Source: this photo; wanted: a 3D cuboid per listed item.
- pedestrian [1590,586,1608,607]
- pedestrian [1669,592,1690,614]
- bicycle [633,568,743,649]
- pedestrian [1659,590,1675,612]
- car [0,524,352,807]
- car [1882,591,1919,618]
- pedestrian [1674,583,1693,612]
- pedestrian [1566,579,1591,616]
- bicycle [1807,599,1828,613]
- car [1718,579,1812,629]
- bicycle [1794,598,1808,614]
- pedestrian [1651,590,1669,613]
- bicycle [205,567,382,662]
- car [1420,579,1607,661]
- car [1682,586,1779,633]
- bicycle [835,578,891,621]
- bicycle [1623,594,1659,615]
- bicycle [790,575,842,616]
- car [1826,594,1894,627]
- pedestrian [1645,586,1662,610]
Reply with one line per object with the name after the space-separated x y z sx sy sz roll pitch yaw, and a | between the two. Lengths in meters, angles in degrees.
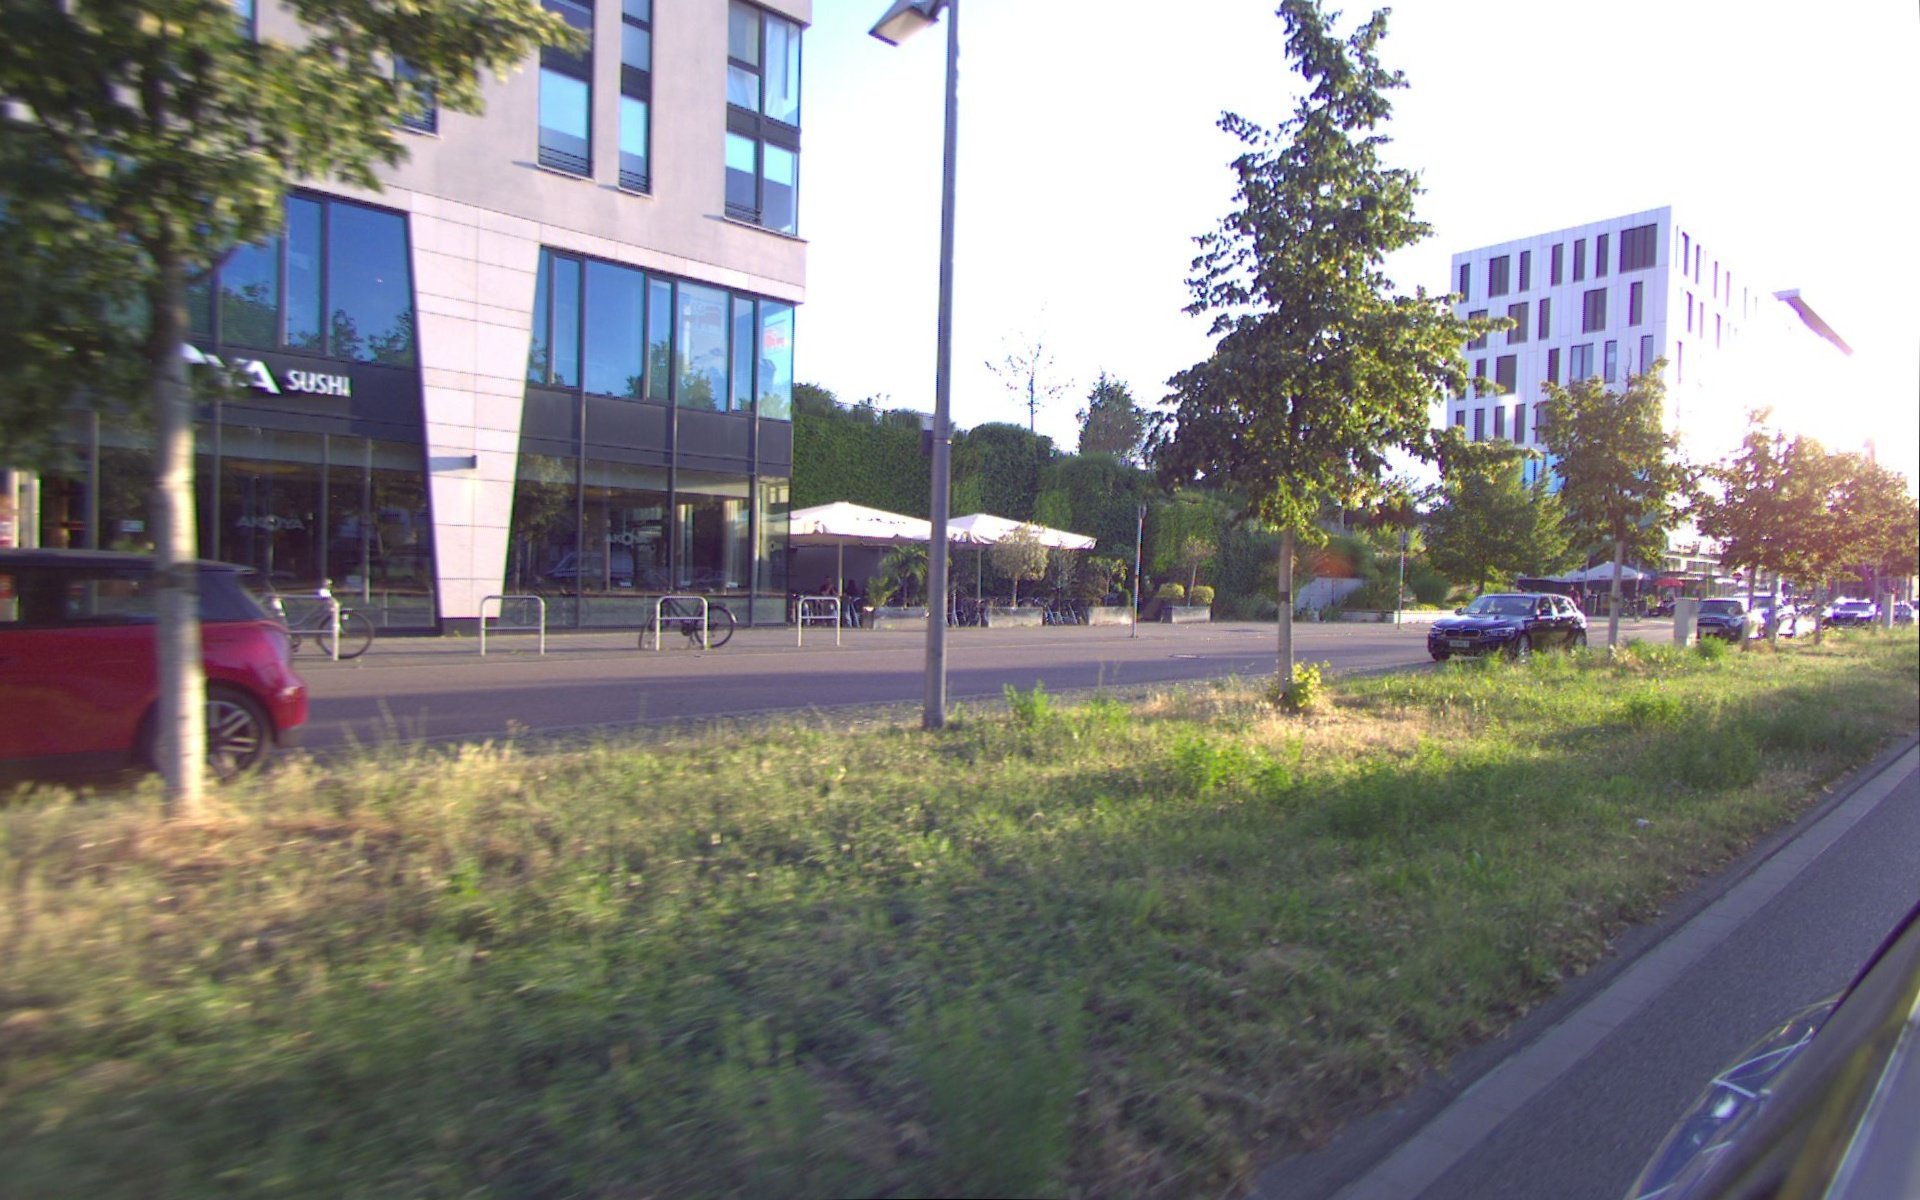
39.168 -0.196 62.014 0.757 1.281 0.744 1 1 -40 | pedestrian
42.709 0.177 60.089 0.671 1.306 0.783 1 3 -34 | pedestrian
-4.438 0.125 16.573 1.642 1.246 0.618 0 1 -43 | bicycle
42.825 0.060 61.306 0.681 1.306 0.621 4 3 36 | pedestrian
-5.981 0.326 5.926 3.891 1.519 1.811 0 1 -42 | car
55.871 0.266 59.630 4.401 1.519 1.811 0 1 -42 | car
47.278 -0.168 66.104 0.670 1.781 0.664 2 2 -23 | pedestrian
28.960 -0.119 47.384 1.060 1.675 0.696 1 1 -42 | pedestrian
65.966 0.473 77.846 1.879 1.053 0.532 2 2 -30 | bicycle
28.527 0.158 35.810 4.595 1.653 1.810 0 -3 -42 | car
61.358 0.465 73.853 2.110 1.122 0.388 0 4 -41 | bicycle
42.078 0.077 60.860 0.654 1.306 0.681 3 2 17 | pedestrian
-8.618 0.171 13.139 1.836 1.142 0.547 0 3 -43 | bicycle
11.409 0.374 20.757 4.287 1.520 1.813 0 0 -38 | car
24.717 0.292 32.416 3.931 1.416 1.752 0 0 -42 | car
-2.664 -0.027 27.667 0.492 1.121 1.796 0 2 -44 | bicycle
34.724 0.246 51.601 1.872 1.056 0.546 1 1 -21 | bicycle
-4.141 -0.139 29.034 0.492 1.121 1.796 0 2 -44 | bicycle
44.764 0.517 50.306 5.317 1.519 1.923 0 1 -42 | car
41.286 -0.103 60.246 0.741 1.385 0.760 2 1 38 | pedestrian
